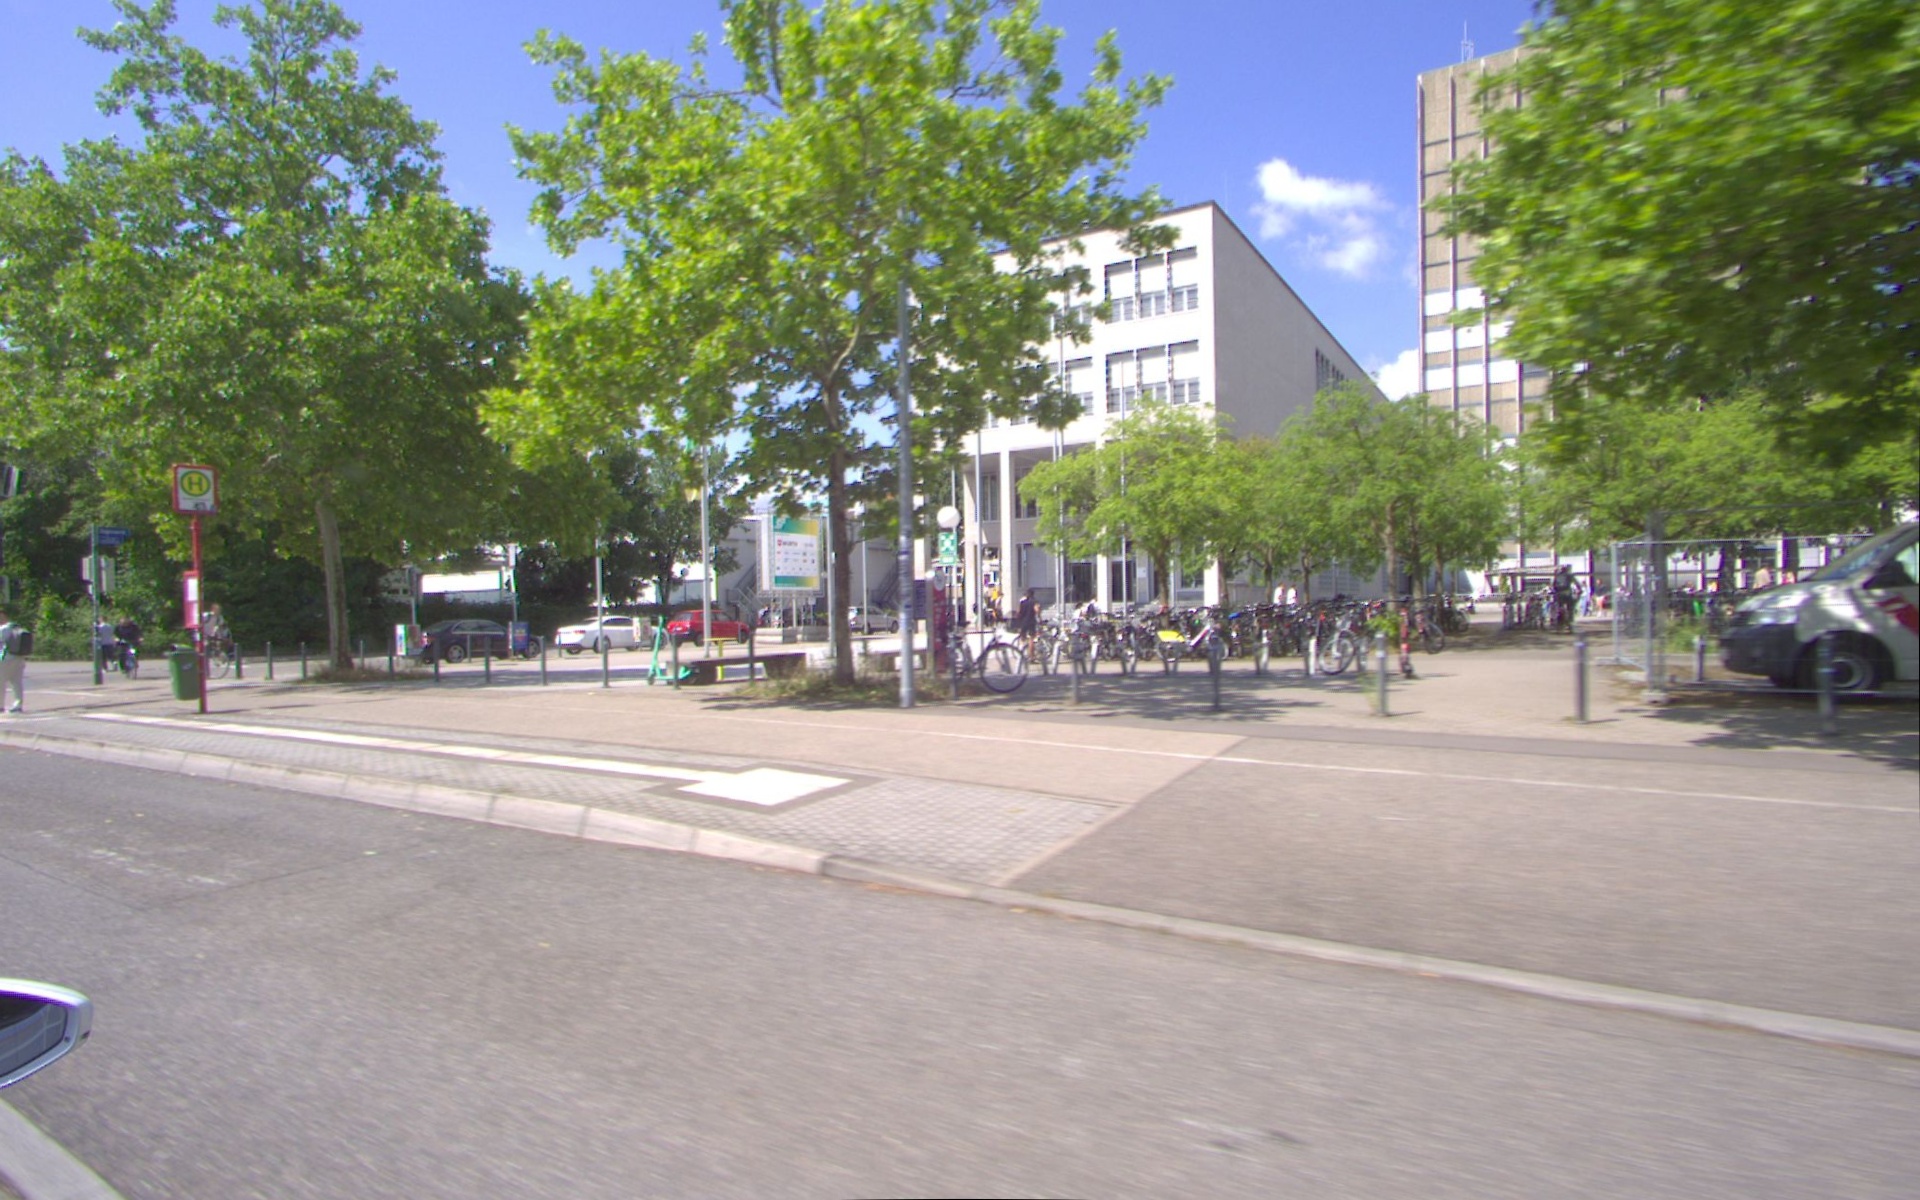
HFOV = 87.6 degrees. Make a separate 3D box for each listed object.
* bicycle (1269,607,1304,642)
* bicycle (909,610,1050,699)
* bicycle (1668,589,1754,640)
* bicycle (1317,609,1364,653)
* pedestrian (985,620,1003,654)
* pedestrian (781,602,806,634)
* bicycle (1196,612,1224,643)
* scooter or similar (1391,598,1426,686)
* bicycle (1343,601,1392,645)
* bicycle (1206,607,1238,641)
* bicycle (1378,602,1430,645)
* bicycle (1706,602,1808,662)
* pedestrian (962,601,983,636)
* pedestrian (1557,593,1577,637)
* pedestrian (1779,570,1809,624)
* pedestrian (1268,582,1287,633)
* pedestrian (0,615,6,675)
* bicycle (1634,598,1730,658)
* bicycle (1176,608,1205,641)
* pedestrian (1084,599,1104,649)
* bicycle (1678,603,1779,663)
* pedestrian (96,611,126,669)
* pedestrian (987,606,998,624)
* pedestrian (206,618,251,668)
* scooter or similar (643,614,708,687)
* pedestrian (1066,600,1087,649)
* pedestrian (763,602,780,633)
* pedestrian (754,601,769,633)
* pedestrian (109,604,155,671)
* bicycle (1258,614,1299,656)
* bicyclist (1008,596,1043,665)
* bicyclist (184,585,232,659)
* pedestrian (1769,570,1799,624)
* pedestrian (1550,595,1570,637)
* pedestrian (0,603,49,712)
[{"bbox_3d":[10.842,0.825,33.290,0.592,1.113,1.769,0,-2,1],"label":"bicycle"},{"bbox_3d":[0.253,0.765,14.422,2.009,1.198,0.793,-2,-2,43],"label":"bicycle"},{"bbox_3d":[17.064,0.350,22.807,0.592,1.113,1.769,-2,-2,1],"label":"bicycle"},{"bbox_3d":[10.145,0.837,26.772,0.592,1.113,1.769,0,-2,1],"label":"bicycle"},{"bbox_3d":[1.740,1.857,50.666,0.625,1.687,0.712,-1,-2,34],"label":"pedestrian"},{"bbox_3d":[-10.153,1.111,61.014,1.083,1.945,1.015,-1,0,32],"label":"pedestrian"},{"bbox_3d":[9.064,1.004,36.415,0.592,1.113,1.769,0,-2,1],"label":"bicycle"},{"bbox_3d":[6.712,0.615,15.008,0.276,1.249,1.297,-2,-1,17],"label":"scooter or similar"},{"bbox_3d":[10.860,0.627,26.746,0.592,1.113,1.769,0,-2,1],"label":"bicycle"},{"bbox_3d":[8.786,0.827,33.629,0.592,1.113,1.769,0,-2,1],"label":"bicycle"},{"bbox_3d":[11.833,0.639,26.746,0.592,1.113,1.769,0,-2,1],"label":"bicycle"},{"bbox_3d":[15.433,0.632,19.444,0.592,1.113,1.769,0,-2,1],"label":"bicycle"},{"bbox_3d":[0.600,0.892,46.688,0.711,1.605,0.712,-1,-2,37],"label":"pedestrian"},{"bbox_3d":[31.622,0.778,52.181,0.627,2.257,0.710,1,-2,-40],"label":"pedestrian"},{"bbox_3d":[34.859,-0.116,41.849,0.702,2.257,0.634,0,-1,1],"label":"pedestrian"},{"bbox_3d":[14.019,0.338,44.188,0.622,2.257,0.717,0,-1,1],"label":"pedestrian"},{"bbox_3d":[-28.607,1.315,29.411,1.169,1.727,0.791,0,0,43],"label":"pedestrian"},{"bbox_3d":[13.972,0.547,19.434,0.592,1.113,1.769,0,-2,1],"label":"bicycle"},{"bbox_3d":[7.869,0.843,34.194,0.592,1.113,1.769,0,-2,1],"label":"bicycle"},{"bbox_3d":[4.876,0.883,36.395,0.623,1.769,0.716,-1,-1,17],"label":"pedestrian"},{"bbox_3d":[14.809,0.644,19.356,0.592,1.113,1.769,0,-2,1],"label":"bicycle"},{"bbox_3d":[-27.300,1.274,32.204,0.695,1.845,0.667,0,0,43],"label":"pedestrian"},{"bbox_3d":[2.929,1.343,90.313,0.705,1.648,0.879,-1,0,30],"label":"pedestrian"},{"bbox_3d":[-25.132,1.468,34.425,1.004,1.649,0.854,1,2,26],"label":"pedestrian"},{"bbox_3d":[-4.737,0.838,16.655,1.176,1.180,0.352,-1,-2,33],"label":"scooter or similar"},{"bbox_3d":[4.253,0.889,36.499,0.623,1.769,0.716,-1,-1,17],"label":"pedestrian"},{"bbox_3d":[-11.878,1.093,63.098,0.725,1.951,0.779,-1,0,-36],"label":"pedestrian"},{"bbox_3d":[-12.432,1.060,62.675,0.586,1.951,0.780,-1,0,-36],"label":"pedestrian"},{"bbox_3d":[-23.305,1.055,28.174,1.163,1.843,0.849,-1,-2,44],"label":"pedestrian"},{"bbox_3d":[8.824,0.974,27.797,0.592,1.113,1.769,0,-2,1],"label":"bicycle"},{"bbox_3d":[1.554,0.712,23.753,0.650,1.585,0.932,-1,0,13],"label":"bicyclist"},{"bbox_3d":[-19.438,0.572,25.884,0.748,1.869,0.662,-1,-1,17],"label":"bicyclist"},{"bbox_3d":[34.992,-0.117,42.537,0.702,2.257,0.634,0,-1,1],"label":"pedestrian"},{"bbox_3d":[32.459,0.854,54.182,0.627,2.257,0.710,1,-2,-40],"label":"pedestrian"},{"bbox_3d":[-16.229,0.974,17.144,0.599,1.825,0.595,-2,2,-2],"label":"pedestrian"}]
